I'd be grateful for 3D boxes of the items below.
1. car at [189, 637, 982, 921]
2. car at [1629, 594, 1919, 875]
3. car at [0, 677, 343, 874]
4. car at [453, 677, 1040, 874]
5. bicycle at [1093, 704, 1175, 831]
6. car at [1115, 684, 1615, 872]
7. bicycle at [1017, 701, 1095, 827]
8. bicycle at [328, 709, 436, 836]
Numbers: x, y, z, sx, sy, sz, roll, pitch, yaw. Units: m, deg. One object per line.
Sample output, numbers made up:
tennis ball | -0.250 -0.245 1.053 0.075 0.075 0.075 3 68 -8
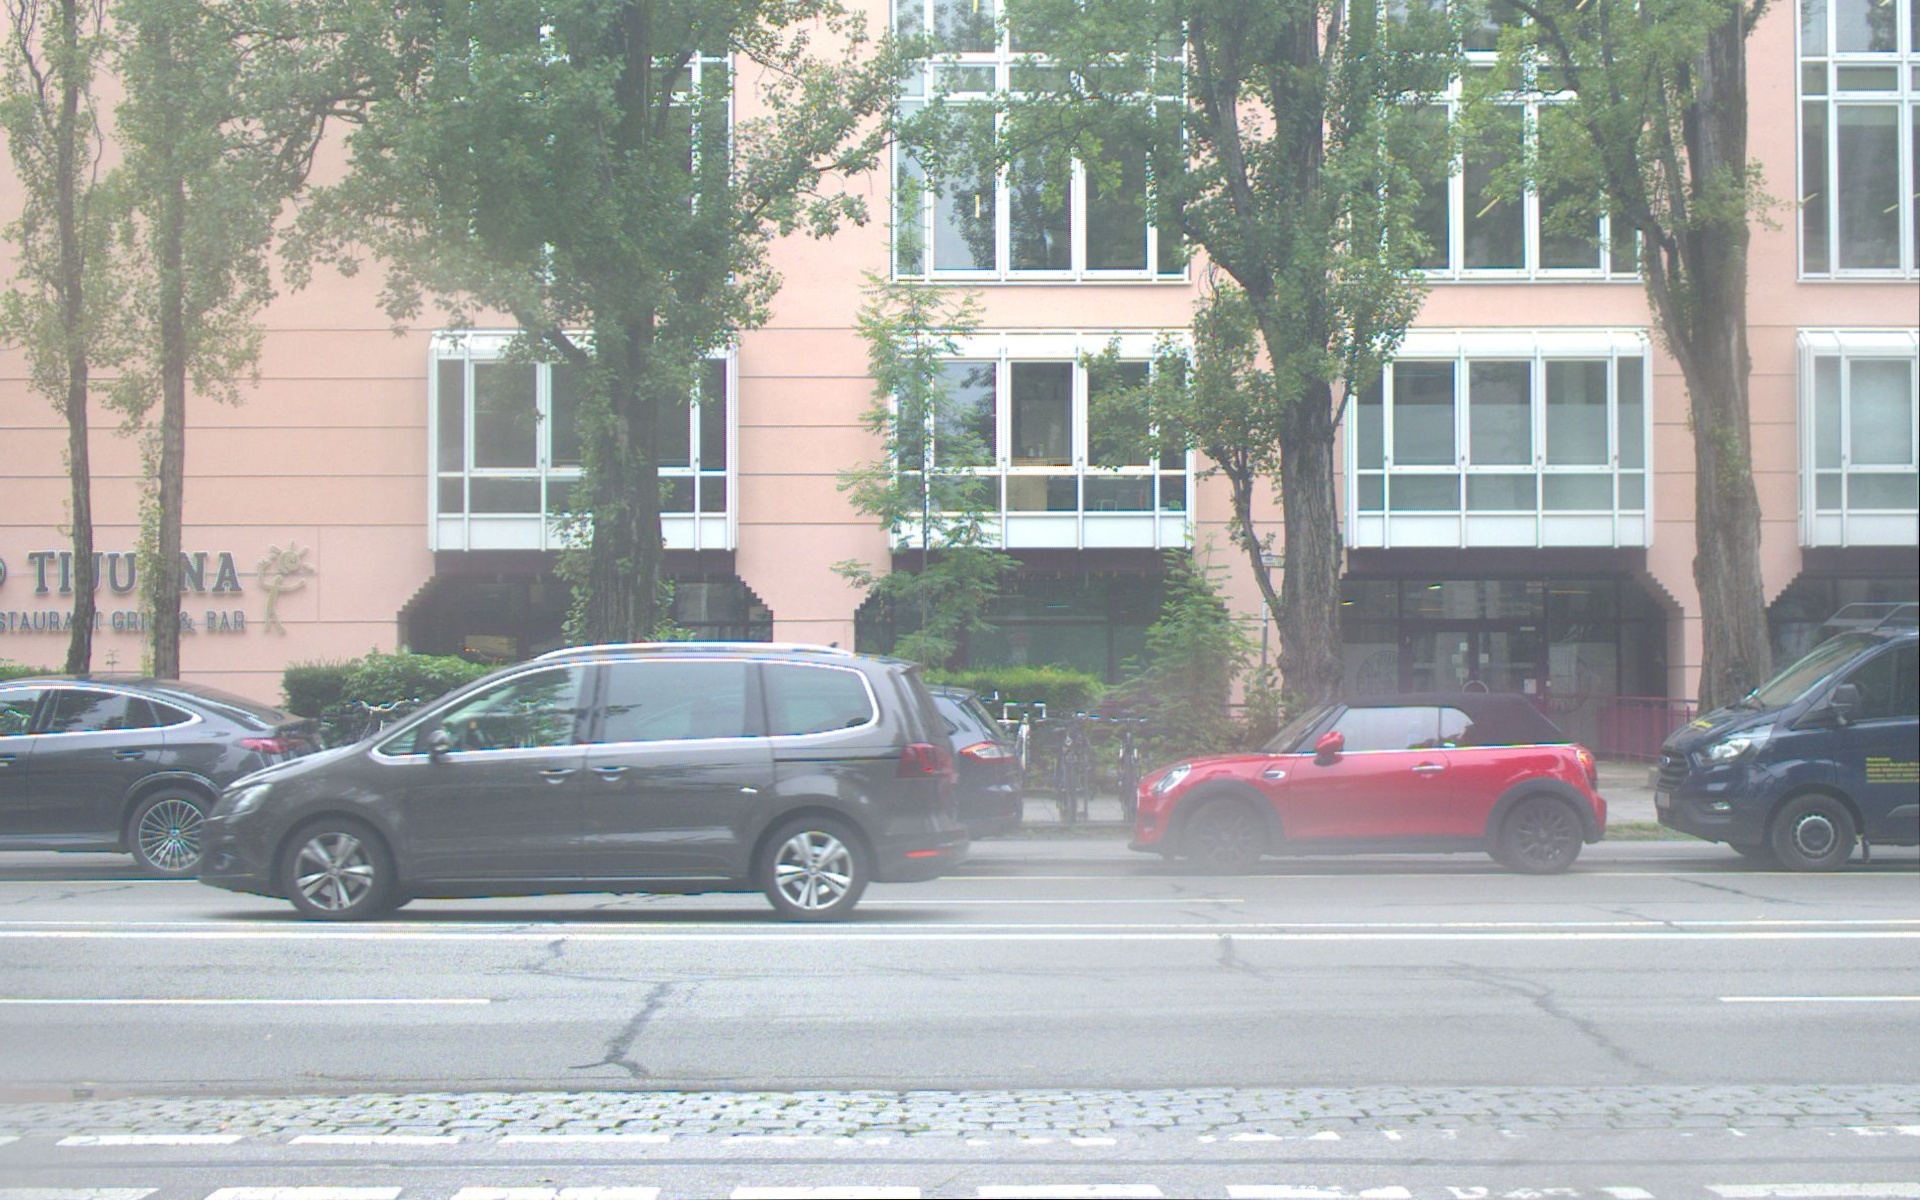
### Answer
car | -2.262 1.117 21.808 4.799 1.716 2.000 0 -2 0
car | 8.366 1.062 27.838 5.479 2.190 2.023 0 -1 0
car | -7.400 1.398 27.837 4.499 1.524 1.793 0 -1 0
car | -1.681 1.397 27.922 4.608 1.524 1.793 0 -1 0
bicycle | 1.613 1.550 32.104 0.674 1.120 1.742 0 -1 0
car | 3.188 1.408 27.642 3.861 1.444 1.678 0 -1 2
bicycle | 0.891 1.513 32.116 0.674 1.120 1.742 0 -1 0
bicycle | -5.403 1.600 32.251 0.674 1.120 1.989 0 -1 0
